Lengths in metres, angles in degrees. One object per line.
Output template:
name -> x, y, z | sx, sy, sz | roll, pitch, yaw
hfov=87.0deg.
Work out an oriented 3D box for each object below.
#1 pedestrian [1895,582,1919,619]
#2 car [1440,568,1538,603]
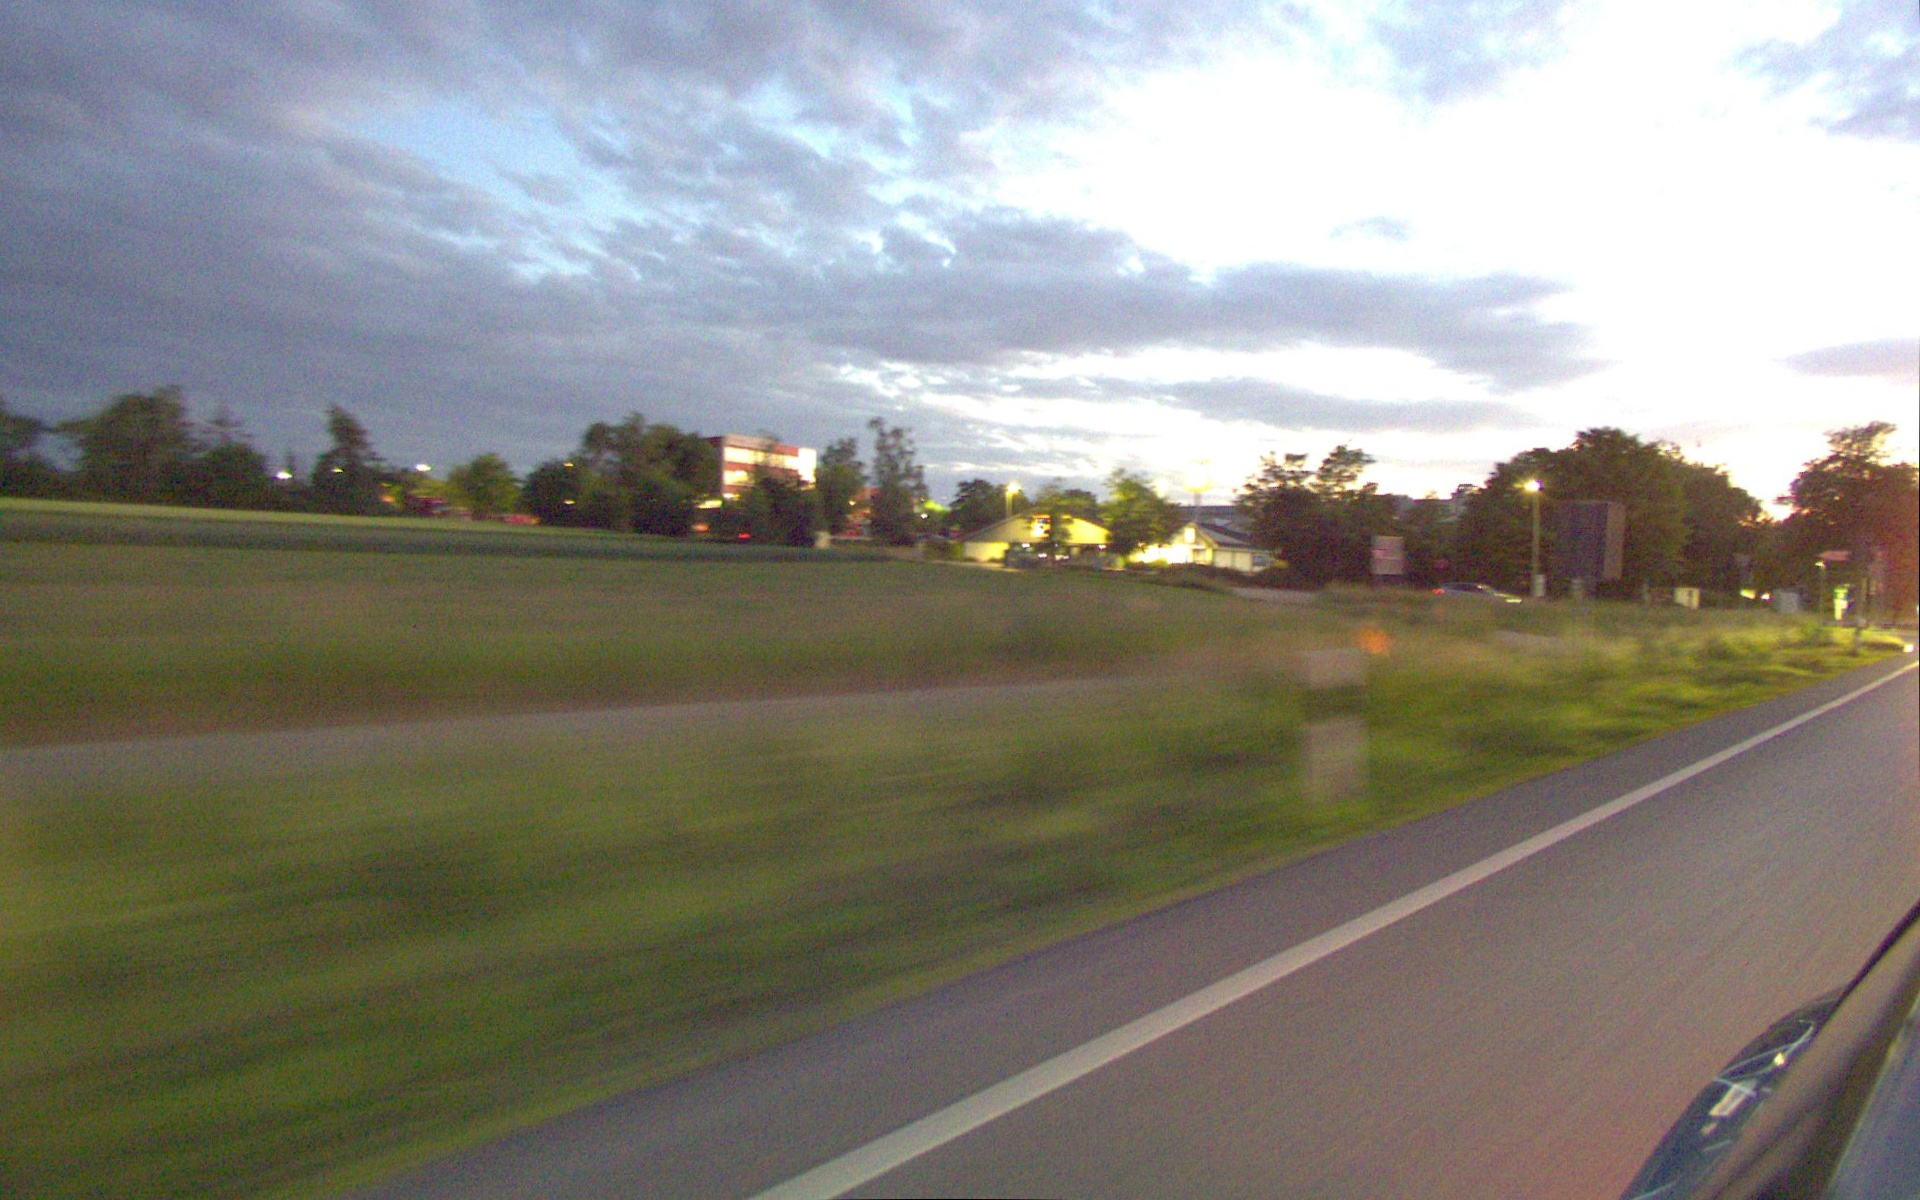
pedestrian -> 52.534, 0.003, 56.079 | 0.768, 2.039, 0.712 | 0, 0, 10
car -> 29.393, -0.835, 56.326 | 4.460, 1.684, 1.971 | 5, 3, 41
